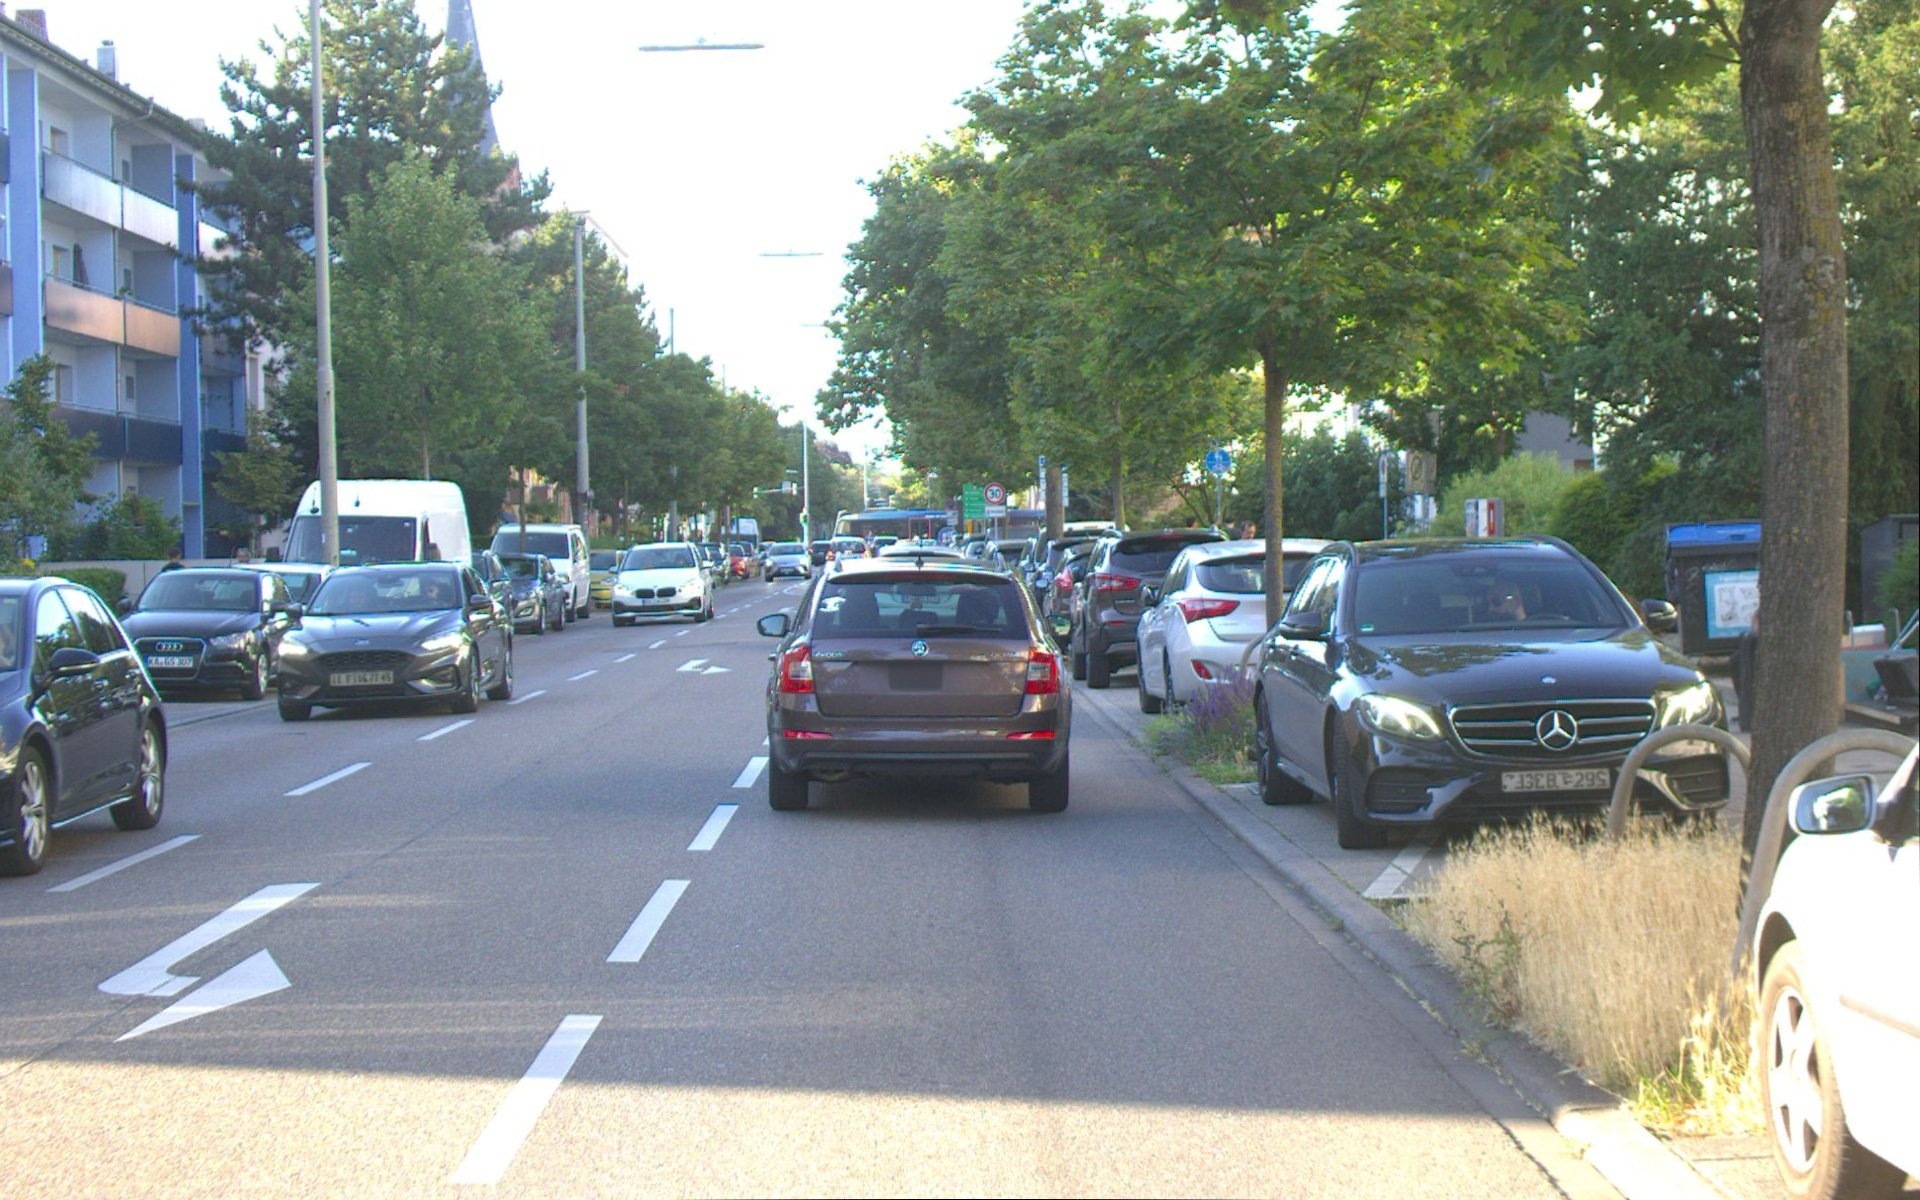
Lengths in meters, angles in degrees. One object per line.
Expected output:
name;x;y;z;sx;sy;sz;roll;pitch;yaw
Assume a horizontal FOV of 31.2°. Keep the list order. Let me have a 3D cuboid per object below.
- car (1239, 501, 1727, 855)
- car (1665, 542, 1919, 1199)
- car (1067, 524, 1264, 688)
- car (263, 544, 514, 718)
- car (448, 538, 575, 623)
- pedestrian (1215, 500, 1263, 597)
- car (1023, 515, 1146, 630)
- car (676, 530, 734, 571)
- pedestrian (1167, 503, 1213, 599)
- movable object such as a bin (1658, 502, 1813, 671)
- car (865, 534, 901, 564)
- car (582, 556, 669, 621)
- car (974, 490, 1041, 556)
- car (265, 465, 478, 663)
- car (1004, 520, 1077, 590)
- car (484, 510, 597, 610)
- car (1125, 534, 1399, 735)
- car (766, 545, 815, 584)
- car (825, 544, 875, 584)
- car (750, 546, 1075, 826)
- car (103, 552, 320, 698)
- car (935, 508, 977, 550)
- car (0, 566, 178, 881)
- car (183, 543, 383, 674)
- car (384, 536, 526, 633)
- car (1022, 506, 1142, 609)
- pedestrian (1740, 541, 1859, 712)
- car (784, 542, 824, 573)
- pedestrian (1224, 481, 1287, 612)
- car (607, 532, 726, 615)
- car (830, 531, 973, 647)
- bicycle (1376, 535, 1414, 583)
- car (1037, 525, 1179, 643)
car;2.630;0.315;18.405;1.874;1.575;4.821;-2;1;1
car;2.648;0.635;6.381;1.636;1.485;4.416;-2;1;-1
car;2.108;0.014;36.219;1.718;1.595;4.096;-1;1;-1
car;-5.347;0.242;32.651;1.700;1.465;4.294;-2;1;-1
car;-8.297;-0.384;63.862;1.692;1.478;4.143;-1;1;1
pedestrian;5.468;-1.014;67.263;0.799;1.854;0.950;-2;1;10
car;1.896;-0.450;53.399;1.754;1.657;4.252;-2;1;1
car;-9.488;-1.860;128.185;1.781;1.475;3.971;1;1;1
pedestrian;4.521;-0.973;67.656;0.748;1.854;1.068;-2;1;-2
movable object such as a bin;7.243;-0.138;32.185;1.267;1.487;1.139;-3;1;9
car;-4.165;-2.771;185.480;1.644;1.593;3.651;-1;1;-6
car;-7.989;-0.304;82.440;1.619;1.475;3.871;1;1;1
car;1.409;-2.275;101.786;1.916;1.854;5.633;-1;1;1
car;-8.289;-0.557;49.080;1.993;2.607;7.106;0;1;-1
car;1.970;-1.137;85.361;1.754;1.680;4.252;1;1;1
car;-8.769;-0.865;72.232;1.868;2.024;5.301;0;1;-1
car;2.415;0.224;28.491;1.718;1.489;4.394;-1;1;-2
car;-6.857;-1.449;139.265;1.781;1.489;3.971;2;1;0
car;-4.288;-1.418;134.000;1.780;1.475;3.972;0;1;-4
car;-0.231;0.438;20.705;1.754;1.487;4.000;1;1;1
car;-8.174;0.232;37.826;1.612;1.468;3.813;1;1;-1
car;-0.183;-3.084;149.855;1.754;1.799;4.000;1;1;0
car;-5.316;0.588;17.637;1.700;1.399;4.028;-3;1;-1
car;-8.368;0.063;42.788;1.706;1.487;4.059;2;1;-1
car;-8.537;-0.299;58.475;1.672;1.537;4.473;-1;1;1
car;2.185;-0.797;62.582;1.800;1.802;4.425;0;1;-3
pedestrian;6.157;0.189;25.234;0.673;1.230;0.790;0;1;0
car;-8.994;-2.467;197.993;1.993;1.744;4.001;-1;1;-6
pedestrian;3.877;-0.705;45.145;0.788;1.694;0.807;0;1;4
car;-5.686;-0.542;67.075;1.879;1.537;4.267;-1;1;1
car;-0.851;-0.153;49.048;1.892;1.501;3.790;3;0;-1
bicycle;8.734;-0.837;69.084;0.475;0.941;1.680;-2;1;-1
car;1.951;-0.249;46.377;1.613;1.461;3.959;-2;1;-1
